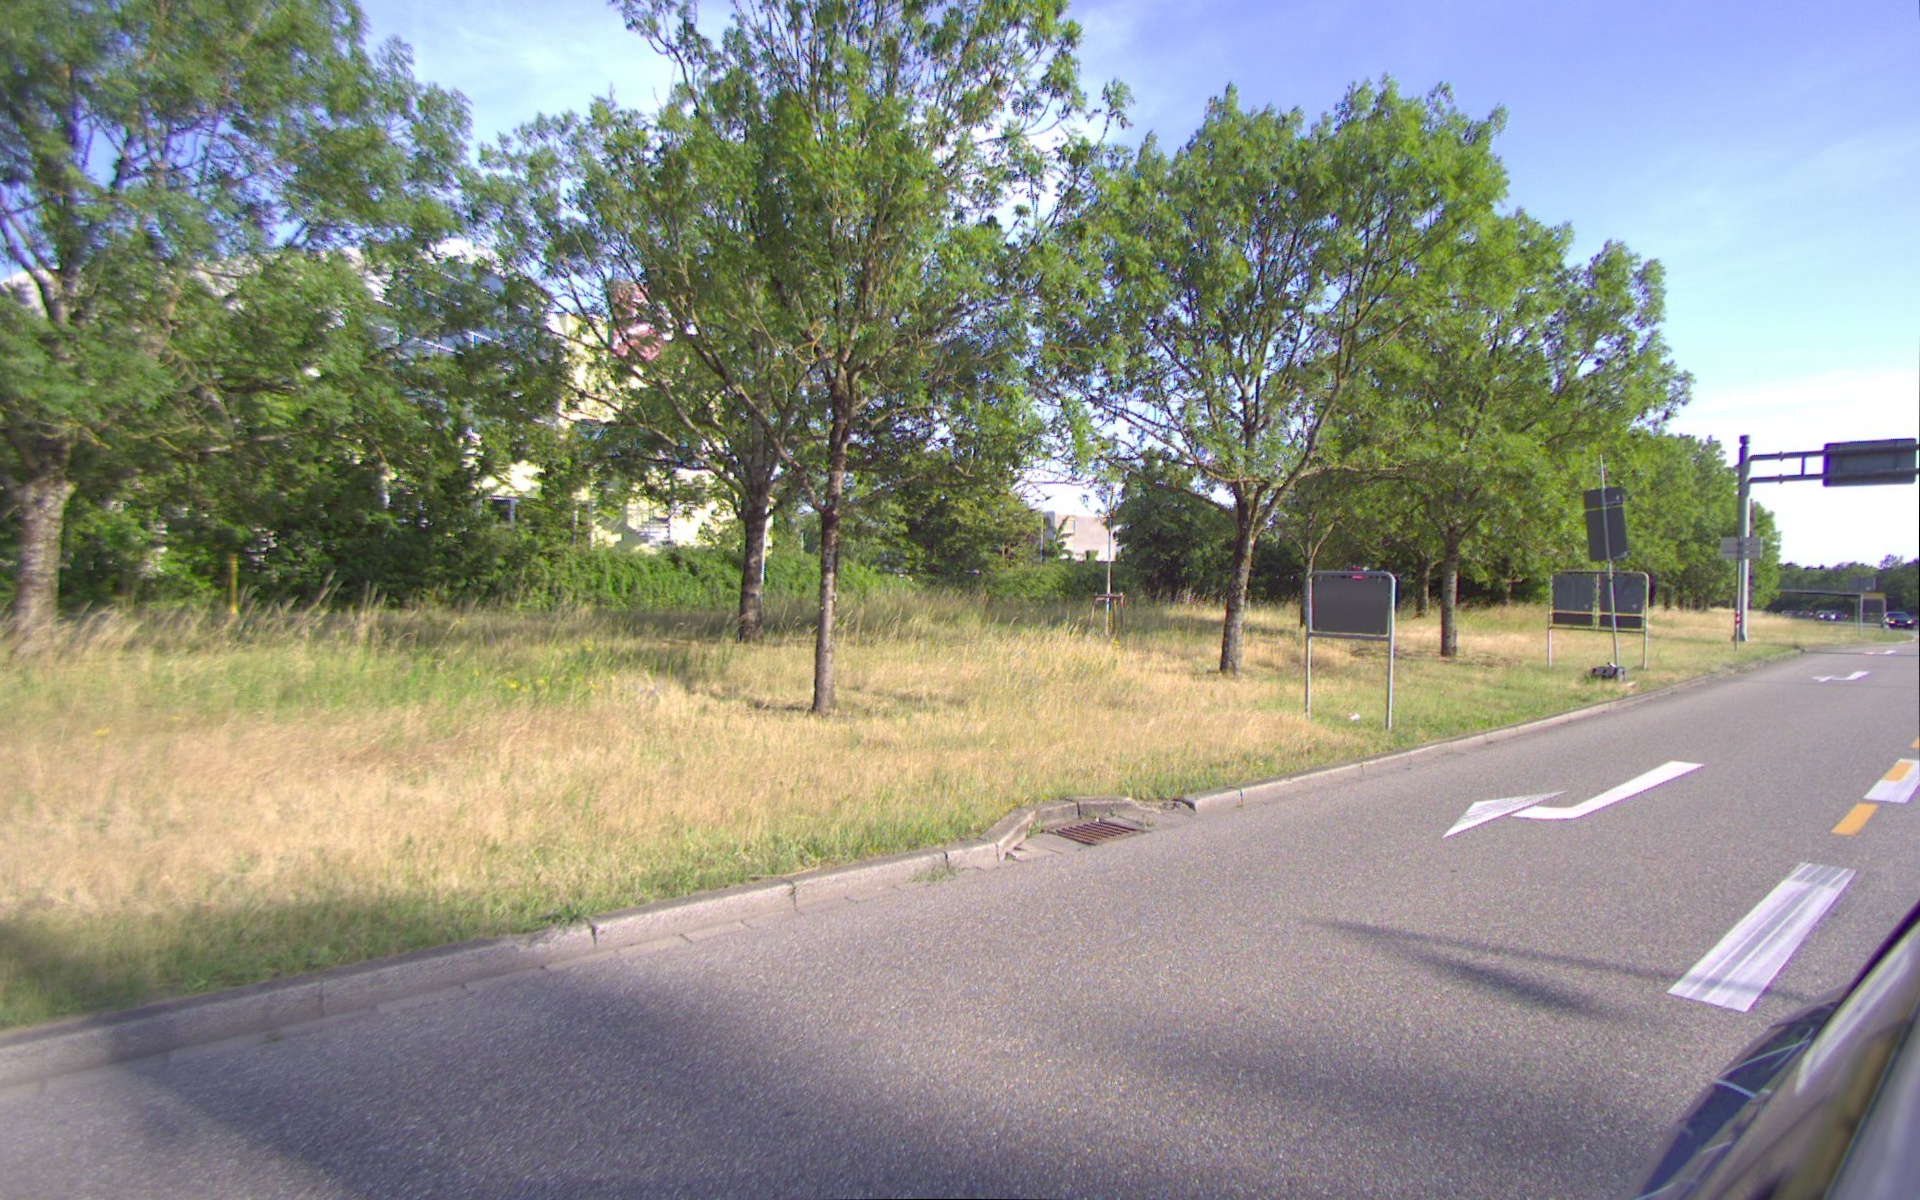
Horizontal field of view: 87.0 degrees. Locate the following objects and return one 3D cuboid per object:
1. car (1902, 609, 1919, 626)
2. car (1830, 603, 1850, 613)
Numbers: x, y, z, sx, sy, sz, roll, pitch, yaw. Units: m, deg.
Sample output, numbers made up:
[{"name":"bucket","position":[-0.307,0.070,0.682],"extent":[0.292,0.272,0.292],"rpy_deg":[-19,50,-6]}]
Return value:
[{"name":"car","position":[79.463,1.440,83.765],"extent":[1.893,1.403,4.293],"rpy_deg":[0,0,39]},{"name":"car","position":[149.615,1.332,172.084],"extent":[1.721,1.632,3.489],"rpy_deg":[0,0,28]}]
